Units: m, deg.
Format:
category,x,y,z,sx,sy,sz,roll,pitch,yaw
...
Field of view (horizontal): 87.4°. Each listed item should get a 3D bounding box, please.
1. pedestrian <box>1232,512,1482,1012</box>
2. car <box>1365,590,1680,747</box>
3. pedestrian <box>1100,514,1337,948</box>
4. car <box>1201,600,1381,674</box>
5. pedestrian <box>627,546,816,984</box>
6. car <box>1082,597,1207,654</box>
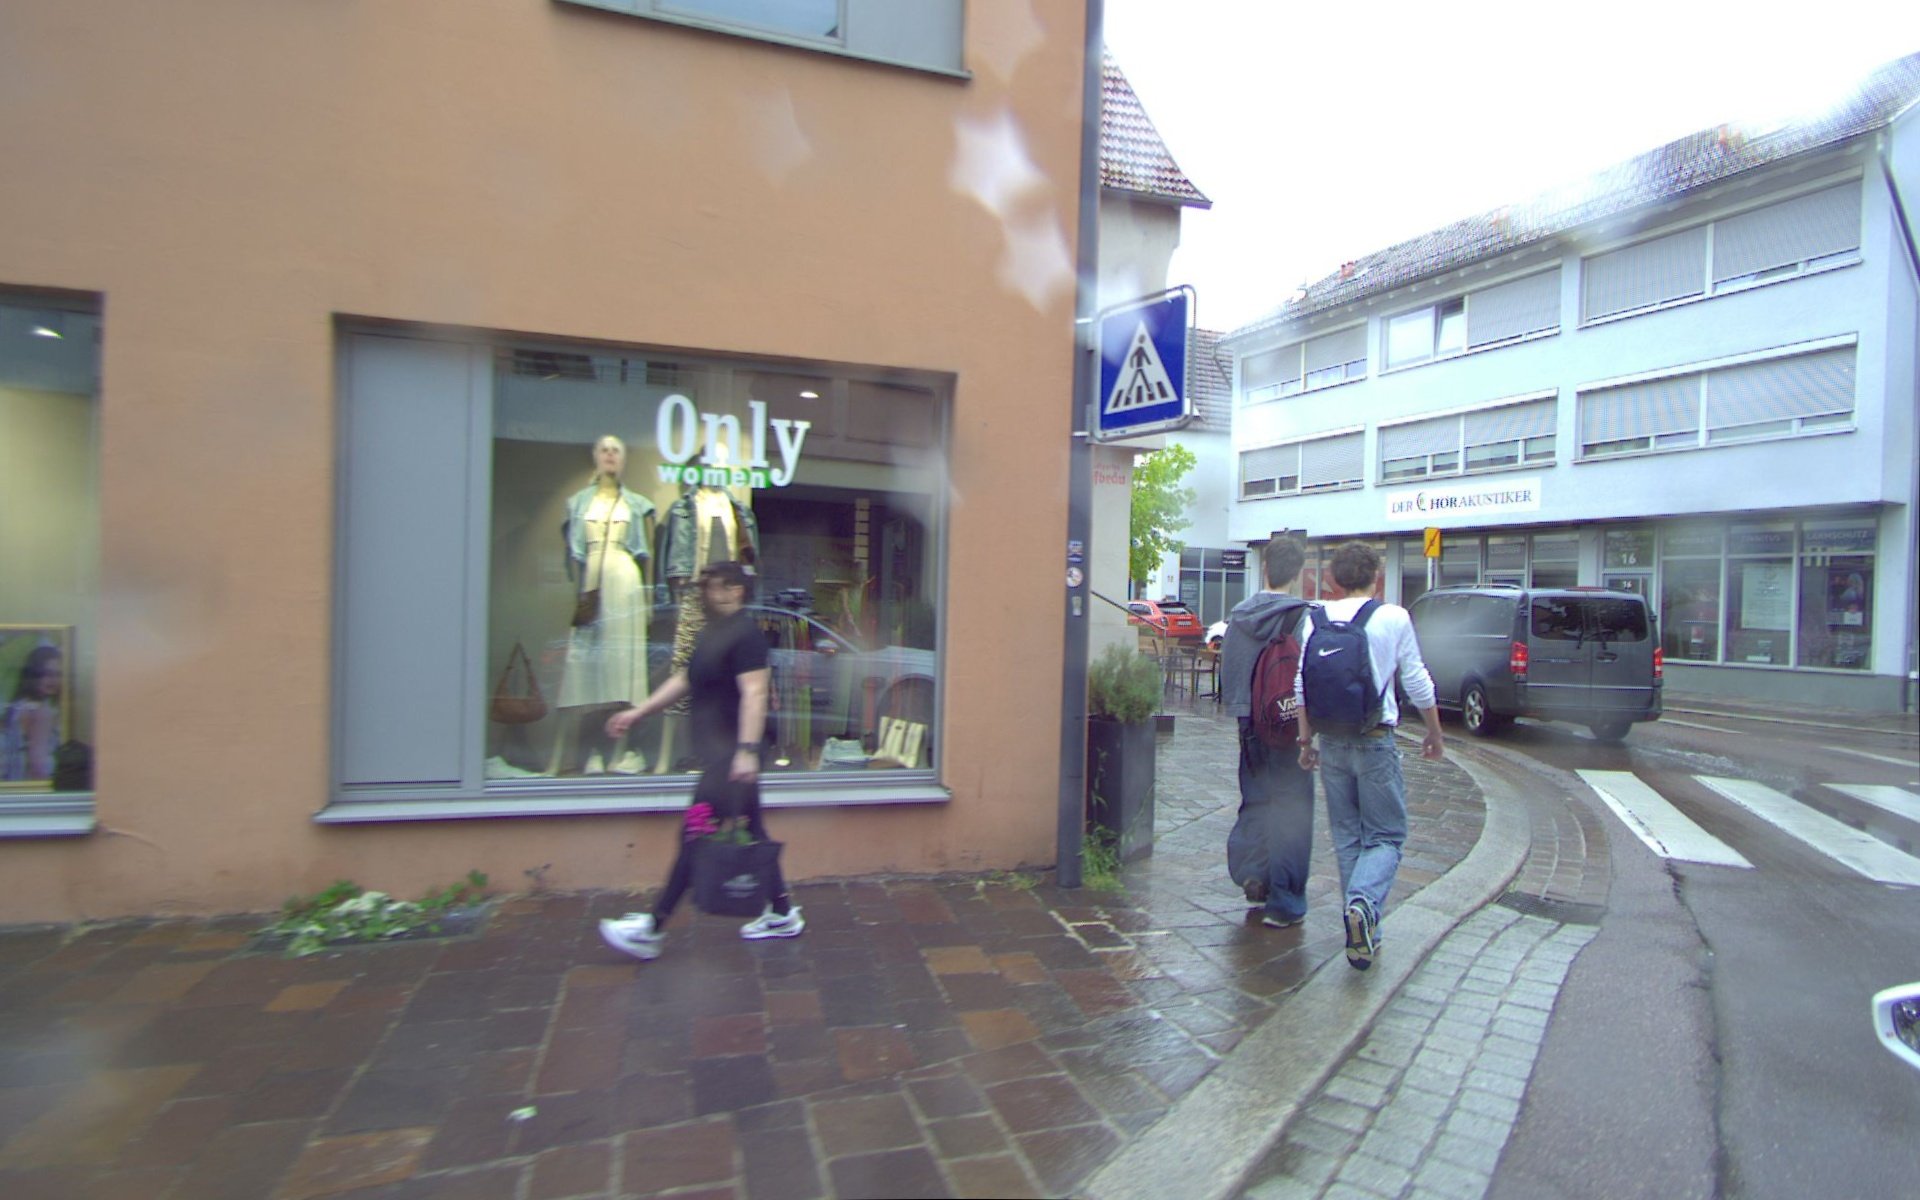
category,x,y,z,sx,sy,sz,roll,pitch,yaw
pedestrian,1.723,0.602,4.299,0.655,1.830,1.056,1,-1,41
car,7.512,0.790,14.091,1.914,1.805,4.728,1,0,3
pedestrian,1.271,0.560,4.849,0.684,1.824,1.053,1,-1,40
car,8.149,0.848,25.127,1.674,1.634,4.190,1,1,-31
pedestrian,-0.999,0.622,4.159,0.673,1.631,0.659,1,0,-17
car,5.408,0.705,29.837,1.662,1.549,3.769,0,1,-29
